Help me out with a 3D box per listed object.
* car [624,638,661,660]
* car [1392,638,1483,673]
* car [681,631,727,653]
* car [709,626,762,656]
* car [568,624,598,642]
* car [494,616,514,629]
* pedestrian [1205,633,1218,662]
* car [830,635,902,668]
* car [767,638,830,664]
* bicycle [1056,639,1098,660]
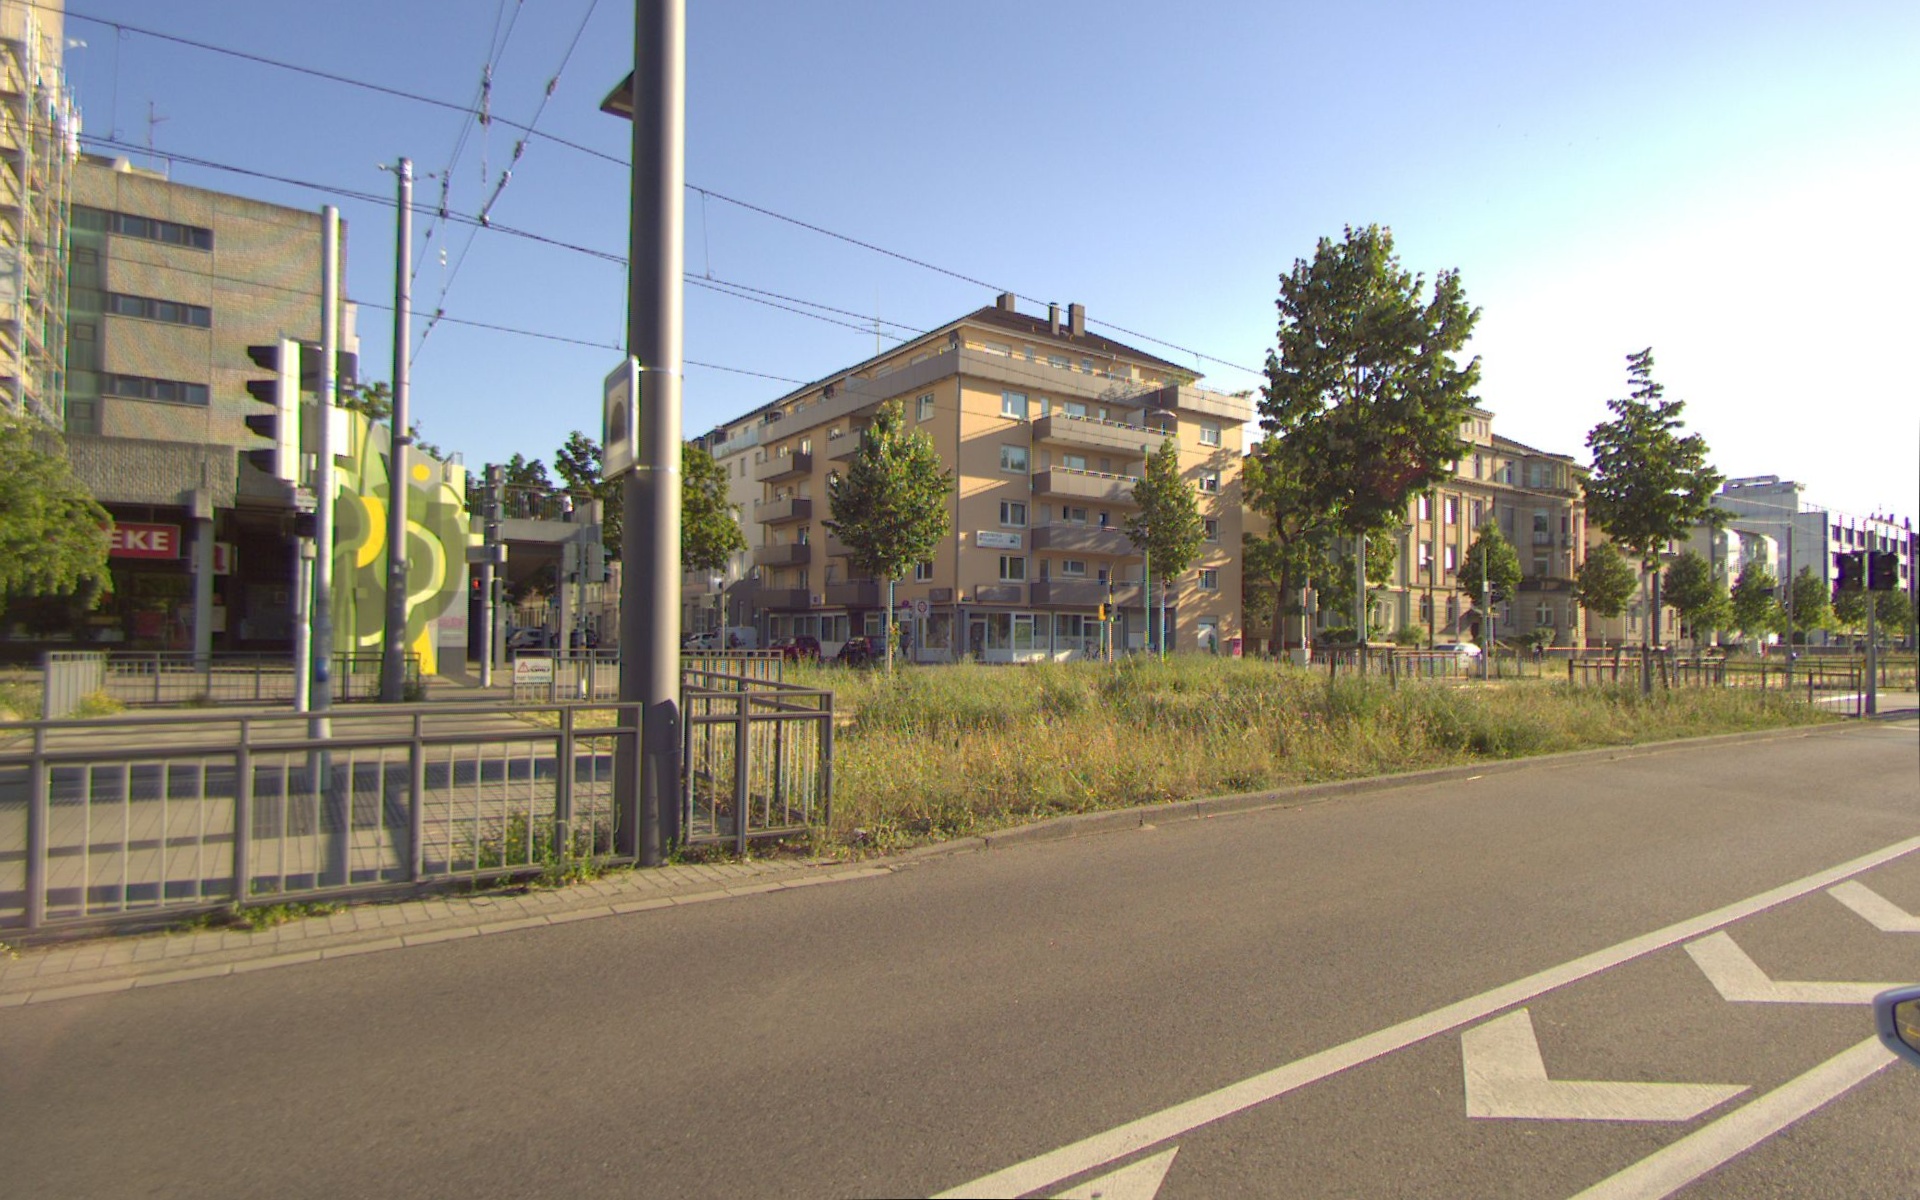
[{"bbox_3d":[-25.255,3.881,79.839,1.803,1.627,3.850,2,-2,-34],"label":"car"},{"bbox_3d":[21.635,2.485,45.434,4.617,1.482,1.764,2,-2,-36],"label":"car"},{"bbox_3d":[-17.451,2.845,68.375,1.829,1.452,3.962,2,-2,-35],"label":"car"},{"bbox_3d":[-14.153,2.552,63.247,1.979,1.766,3.962,2,-2,-34],"label":"car"},{"bbox_3d":[-35.714,3.136,95.176,1.803,1.627,3.850,2,-2,-34],"label":"car"},{"bbox_3d":[-60.606,3.026,133.459,1.803,1.627,3.850,2,-2,-34],"label":"car"},{"bbox_3d":[13.823,2.603,55.264,0.444,1.576,0.515,2,-2,-36],"label":"pedestrian"},{"bbox_3d":[-4.665,2.535,49.585,1.829,1.516,3.962,2,-2,-35],"label":"car"},{"bbox_3d":[-9.113,2.845,56.443,1.979,1.321,3.962,2,-2,-34],"label":"car"},{"bbox_3d":[6.366,2.679,54.408,2.560,1.152,0.527,2,-2,-35],"label":"bicycle"}]
